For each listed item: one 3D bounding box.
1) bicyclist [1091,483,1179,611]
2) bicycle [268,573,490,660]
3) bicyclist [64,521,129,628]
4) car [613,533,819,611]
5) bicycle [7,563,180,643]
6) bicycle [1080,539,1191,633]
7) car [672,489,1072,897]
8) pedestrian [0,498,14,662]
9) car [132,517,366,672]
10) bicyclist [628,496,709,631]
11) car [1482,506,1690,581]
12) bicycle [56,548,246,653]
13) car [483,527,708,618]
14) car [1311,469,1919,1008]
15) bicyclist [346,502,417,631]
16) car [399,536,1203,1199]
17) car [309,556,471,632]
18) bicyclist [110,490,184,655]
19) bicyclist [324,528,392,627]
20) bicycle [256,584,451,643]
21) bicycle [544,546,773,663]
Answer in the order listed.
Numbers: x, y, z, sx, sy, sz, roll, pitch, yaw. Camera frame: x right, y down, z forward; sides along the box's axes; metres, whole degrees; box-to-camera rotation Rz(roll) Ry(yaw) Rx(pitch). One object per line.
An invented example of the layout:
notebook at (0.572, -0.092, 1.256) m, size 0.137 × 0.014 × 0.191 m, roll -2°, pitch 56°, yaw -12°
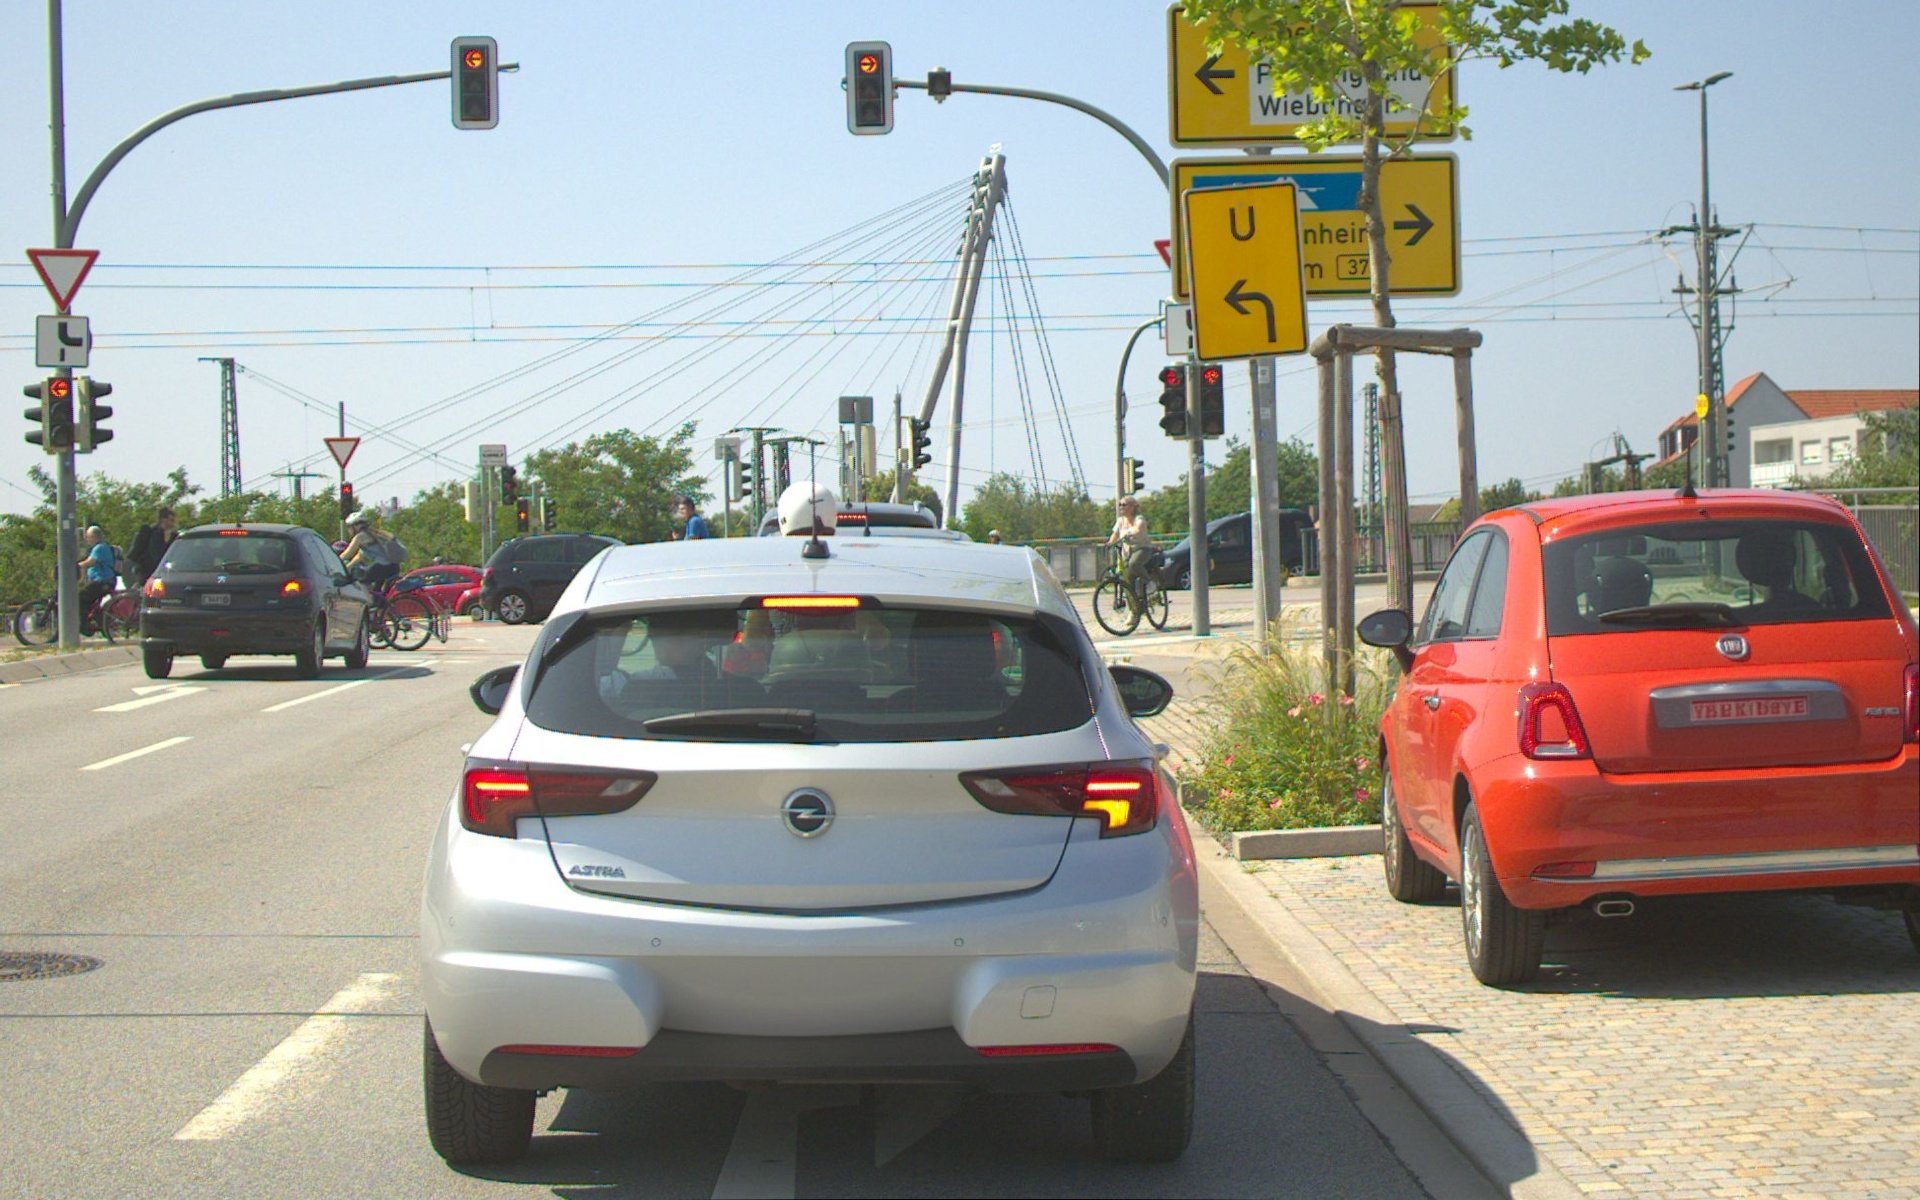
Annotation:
bicyclist at (2.172, -0.651, 42.491) m, size 0.821 × 1.563 × 0.947 m, roll 1°, pitch 0°, yaw 20°
bicycle at (-6.817, 0.194, 40.404) m, size 2.504 × 1.003 × 0.605 m, roll 0°, pitch 1°, yaw 0°
bicyclist at (-12.340, -0.365, 49.164) m, size 0.718 × 1.499 × 0.824 m, roll 0°, pitch 0°, yaw 0°
car at (-4.571, -0.541, 64.815) m, size 3.790 × 1.357 × 1.533 m, roll -1°, pitch 2°, yaw -2°
bicycle at (-12.380, 0.036, 49.149) m, size 2.319 × 1.129 × 0.637 m, roll 0°, pitch 1°, yaw 0°
bicycle at (2.193, -0.174, 42.567) m, size 0.676 × 1.123 × 2.363 m, roll 1°, pitch 0°, yaw 20°
car at (-0.405, 0.374, 16.199) m, size 1.634 × 1.668 × 3.745 m, roll 1°, pitch 0°, yaw -1°
pedestrian at (-11.202, -0.232, 38.986) m, size 0.740 × 1.857 × 0.754 m, roll 1°, pitch 0°, yaw -2°
car at (-6.714, -0.066, 32.743) m, size 1.587 × 1.390 × 3.340 m, roll 0°, pitch 0°, yaw -1°
bicyclist at (-3.430, -0.429, 40.441) m, size 0.822 × 1.554 × 0.863 m, roll 1°, pitch 0°, yaw 3°
car at (14.415, -1.300, 79.226) m, size 4.244 × 1.668 × 2.001 m, roll 0°, pitch 1°, yaw -17°
bicycle at (-9.379, 0.005, 39.862) m, size 2.082 × 1.174 × 0.555 m, roll 1°, pitch 0°, yaw 12°
car at (-6.536, -0.493, 61.905) m, size 3.748 × 1.578 × 1.813 m, roll 0°, pitch 0°, yaw 5°
car at (2.332, 0.350, 12.073) m, size 1.669 × 1.534 × 3.917 m, roll -2°, pitch 2°, yaw -1°
bicyclist at (-6.797, -0.391, 40.406) m, size 0.657 × 1.497 × 0.844 m, roll 1°, pitch 0°, yaw 1°
car at (-0.375, 0.584, 9.387) m, size 1.690 × 1.514 × 4.271 m, roll 0°, pitch 1°, yaw -1°
car at (-13.007, -0.140, 78.557) m, size 3.380 × 1.650 × 1.647 m, roll 1°, pitch 0°, yaw 2°
bicyclist at (-9.422, -0.320, 39.853) m, size 0.594 × 1.881 × 0.636 m, roll 1°, pitch 0°, yaw 12°
bicyclist at (-7.214, -0.273, 41.221) m, size 0.657 × 1.171 × 0.731 m, roll 1°, pitch 0°, yaw 1°
bicycle at (-7.271, 0.162, 41.226) m, size 2.246 × 0.690 × 0.516 m, roll 0°, pitch 1°, yaw 0°
bicycle at (-3.538, 0.046, 40.451) m, size 2.524 × 1.130 × 0.728 m, roll -5°, pitch 3°, yaw 3°
